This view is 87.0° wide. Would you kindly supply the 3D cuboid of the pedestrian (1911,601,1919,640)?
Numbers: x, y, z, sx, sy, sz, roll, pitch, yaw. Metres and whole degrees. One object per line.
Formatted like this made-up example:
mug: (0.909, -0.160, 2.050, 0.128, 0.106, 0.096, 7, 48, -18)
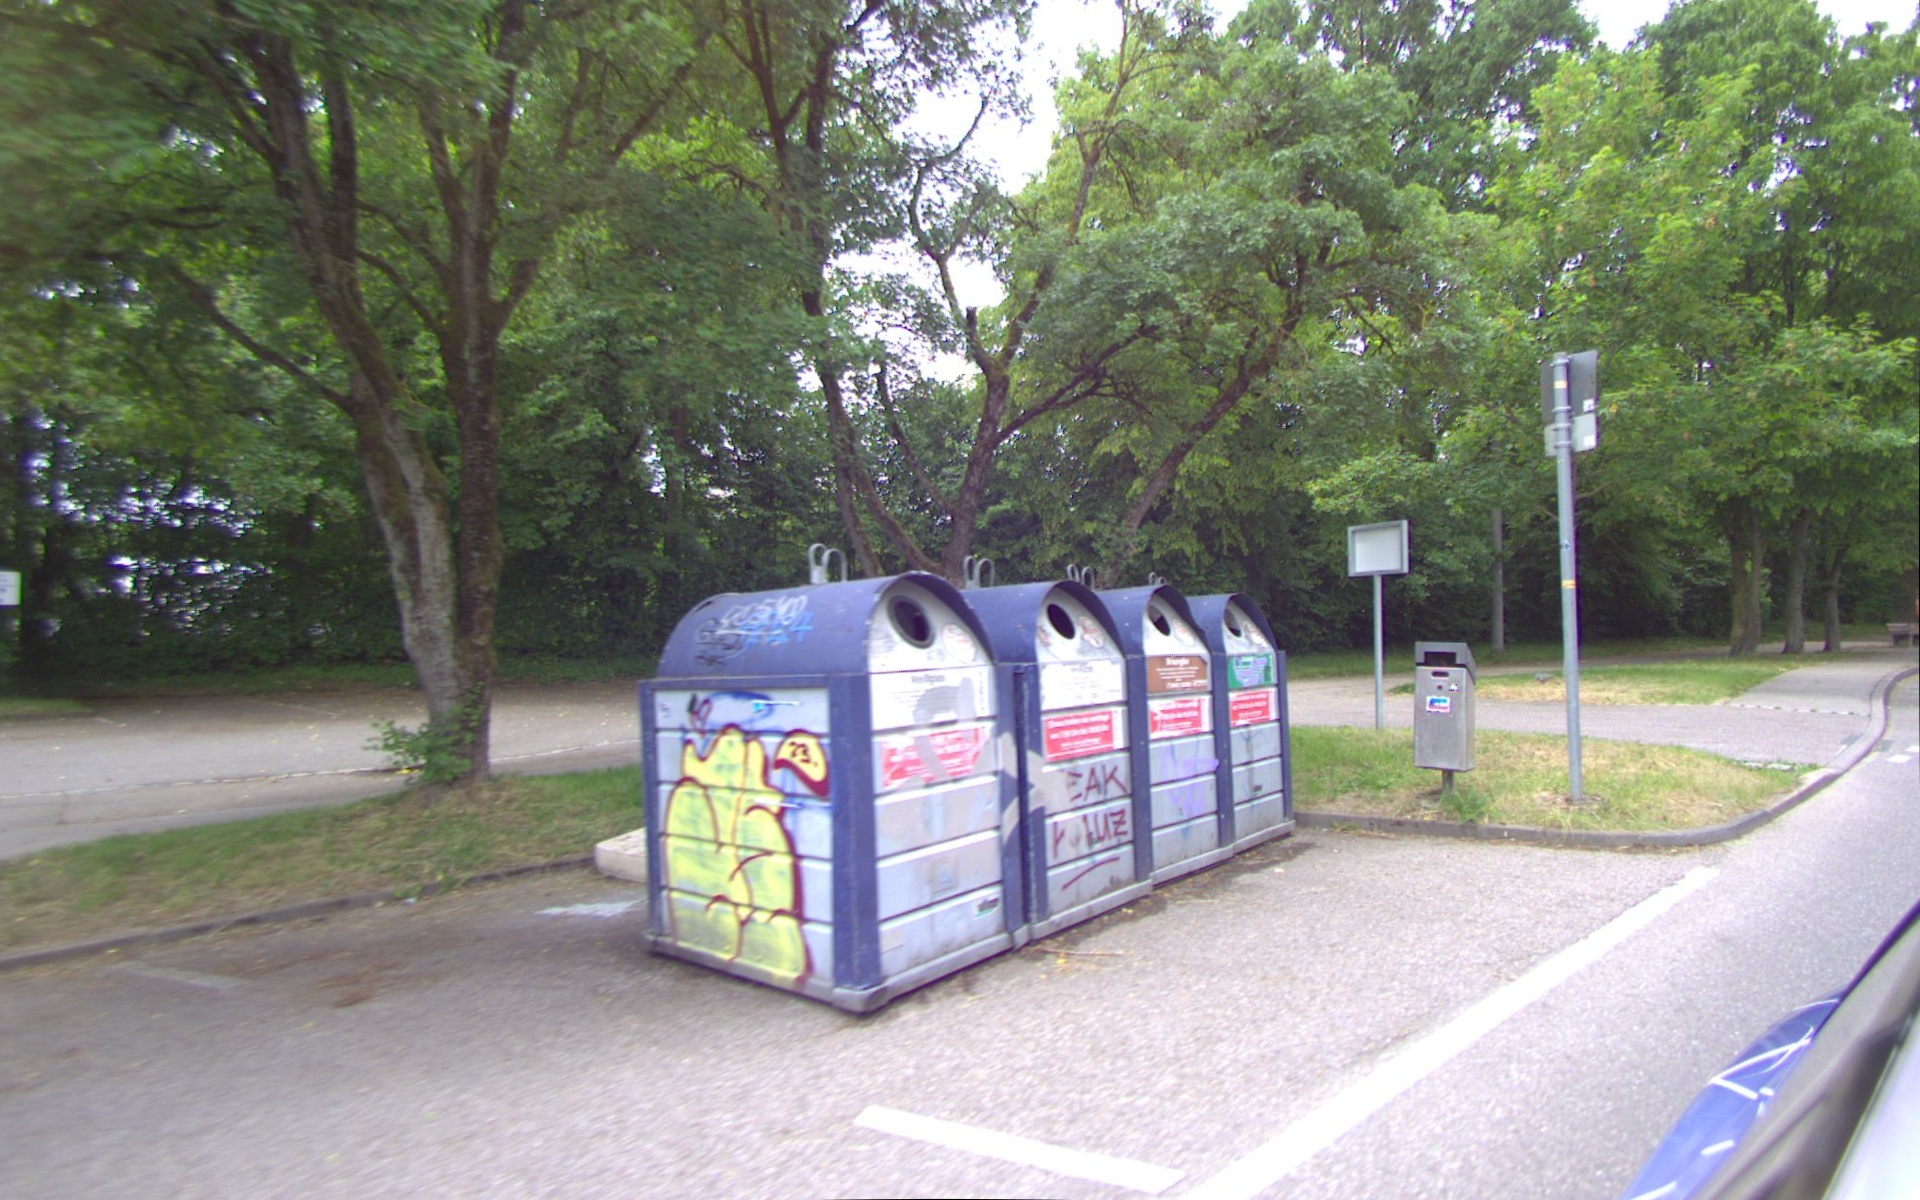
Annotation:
pedestrian: (29.949, 0.617, 31.016, 0.569, 1.197, 1.067, 0, -1, -34)
